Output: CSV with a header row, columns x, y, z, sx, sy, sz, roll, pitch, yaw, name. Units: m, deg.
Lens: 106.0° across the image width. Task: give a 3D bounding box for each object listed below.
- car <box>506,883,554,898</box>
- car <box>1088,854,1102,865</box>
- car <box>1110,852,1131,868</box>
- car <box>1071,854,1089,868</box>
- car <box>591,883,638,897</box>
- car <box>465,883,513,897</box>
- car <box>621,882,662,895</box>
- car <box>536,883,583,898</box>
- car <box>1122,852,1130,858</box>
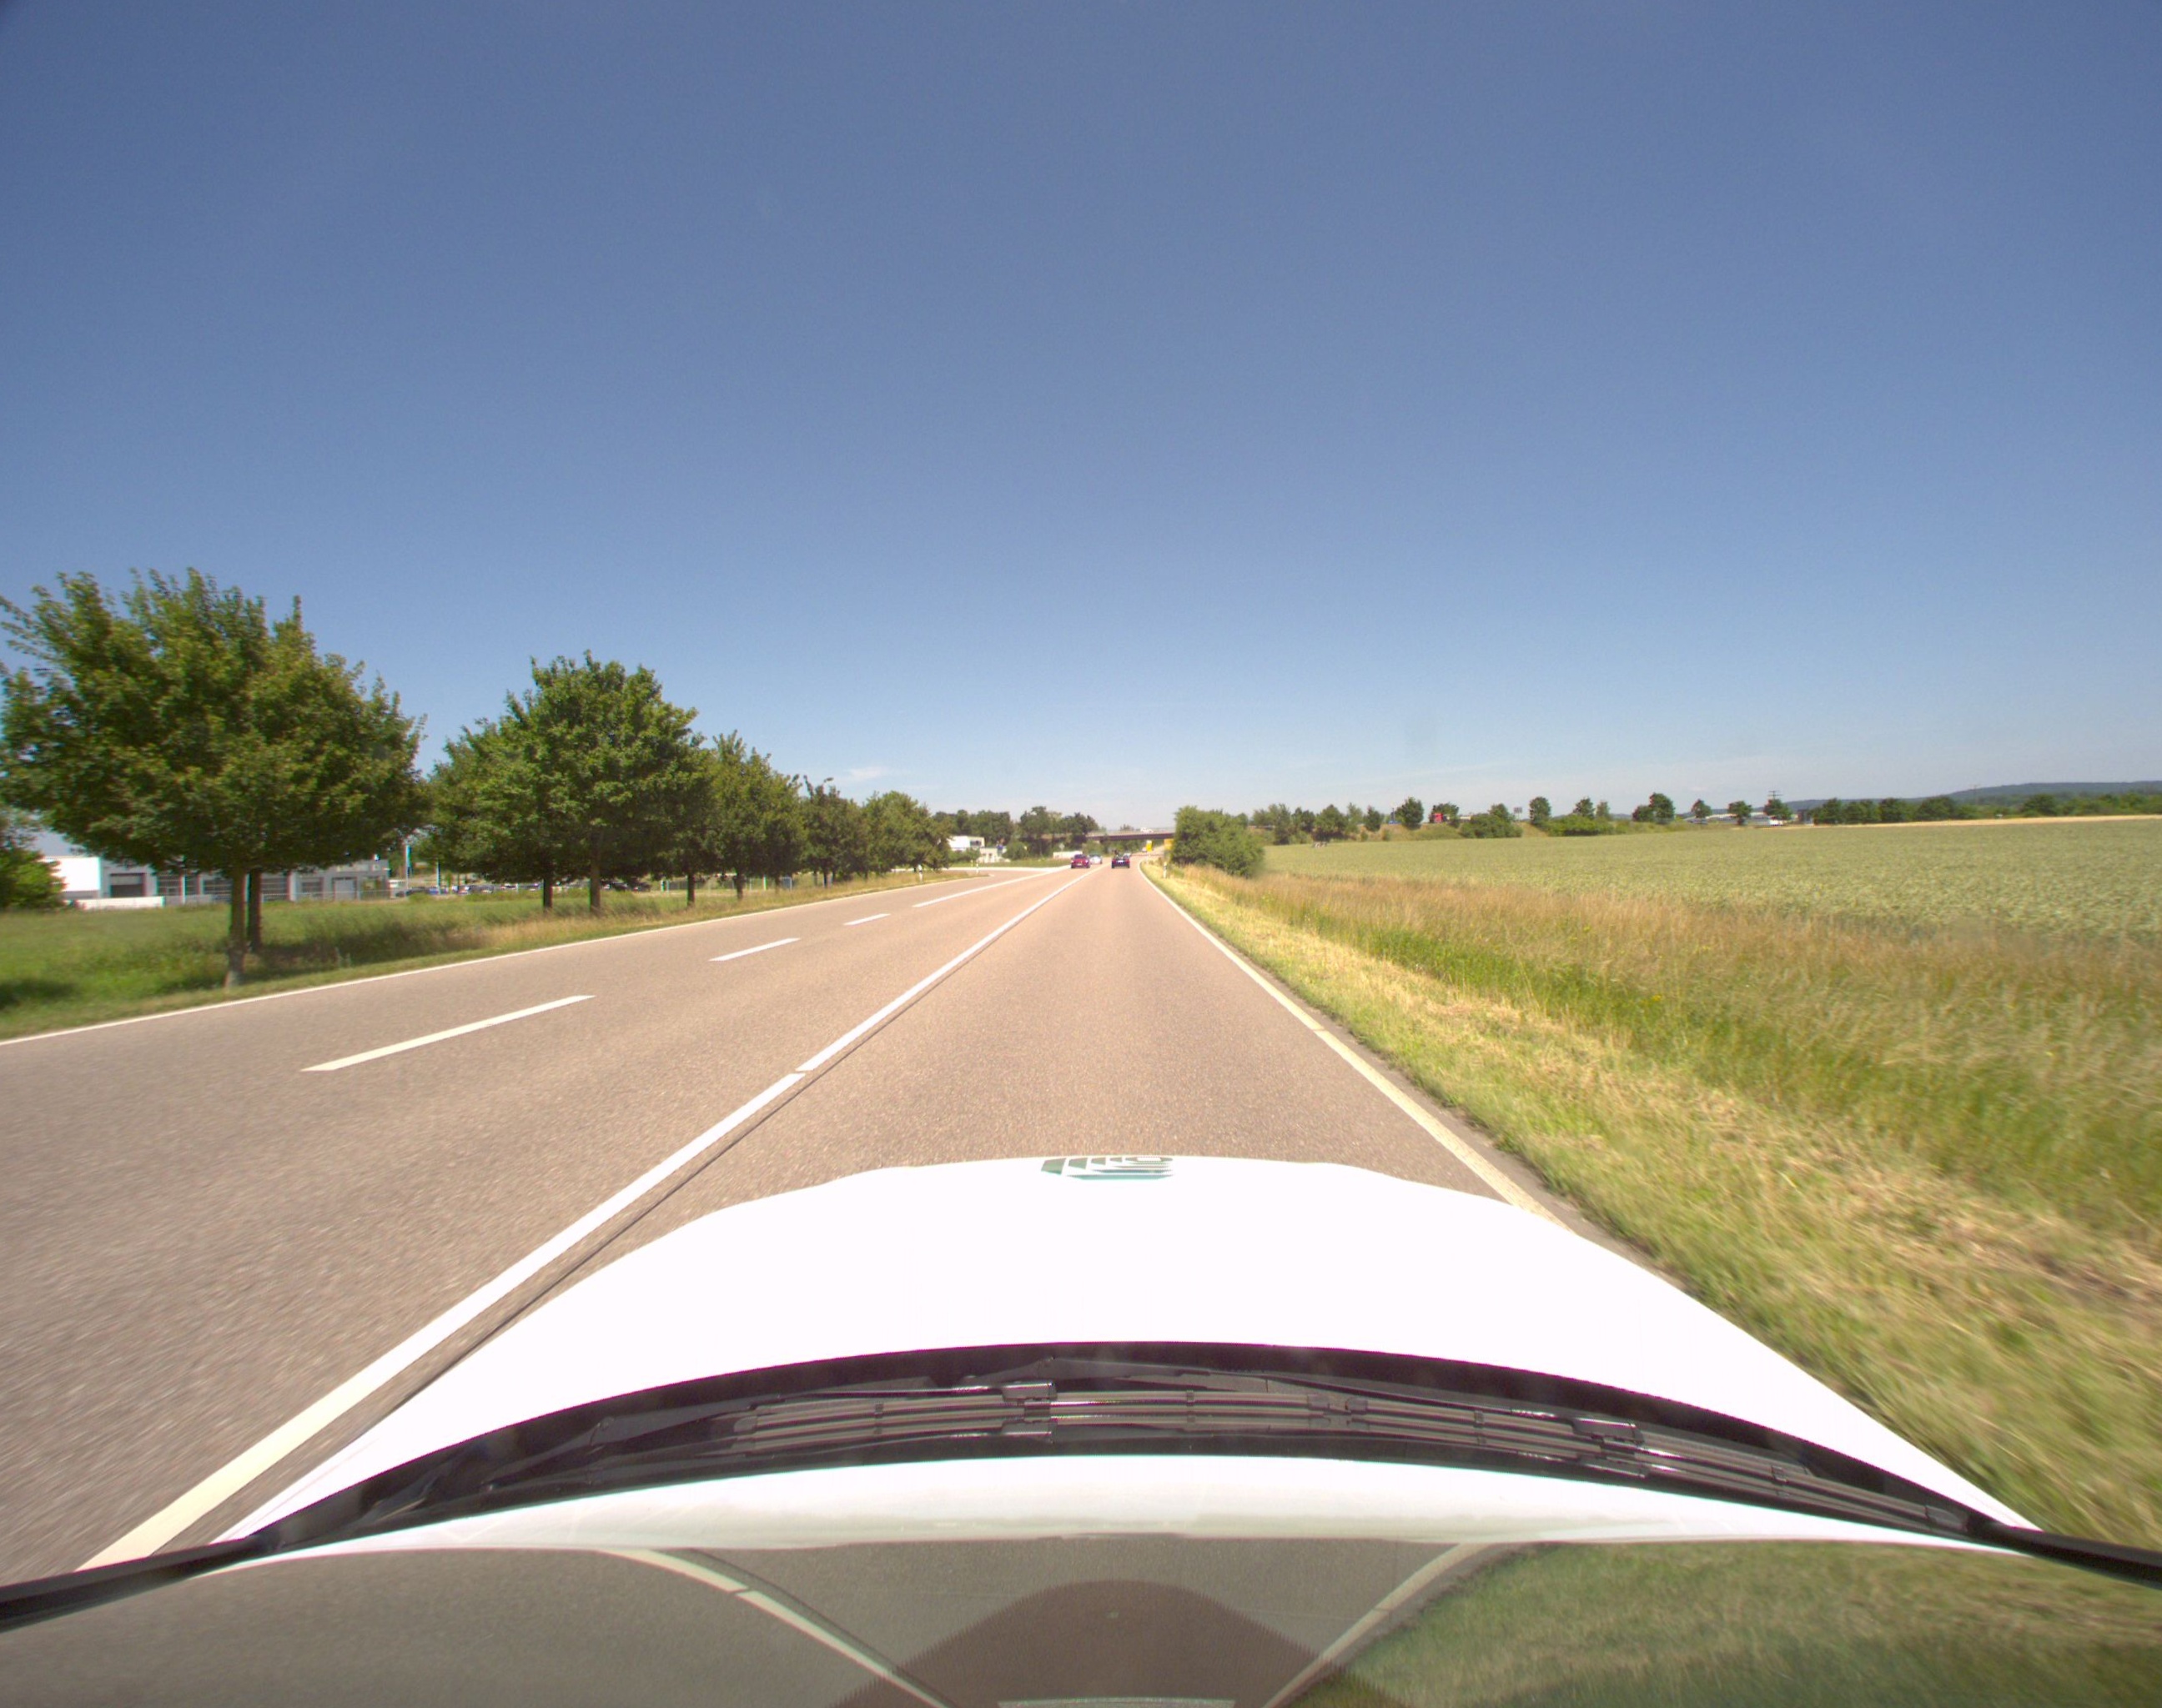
x,y,z,sx,sy,sz,roll,pitch,yaw,name
-62.666,4.137,92.595,1.974,1.394,4.025,-2,0,29,car
1.847,0.748,109.309,1.724,1.391,4.494,-1,0,3,car
3.845,0.575,79.430,1.809,1.441,3.999,-1,0,0,car
-0.109,0.711,83.150,1.736,1.411,4.626,-1,0,1,car
-51.884,3.991,90.634,1.974,1.394,4.025,-2,0,29,car
-68.817,4.223,94.733,1.974,1.394,4.025,-2,0,29,car
-54.875,4.353,101.804,1.974,1.394,4.025,-2,0,29,car
-58.738,4.090,91.762,1.974,1.394,4.025,-2,0,29,car
12.384,0.157,224.229,1.824,1.567,3.335,-1,-1,1,car
